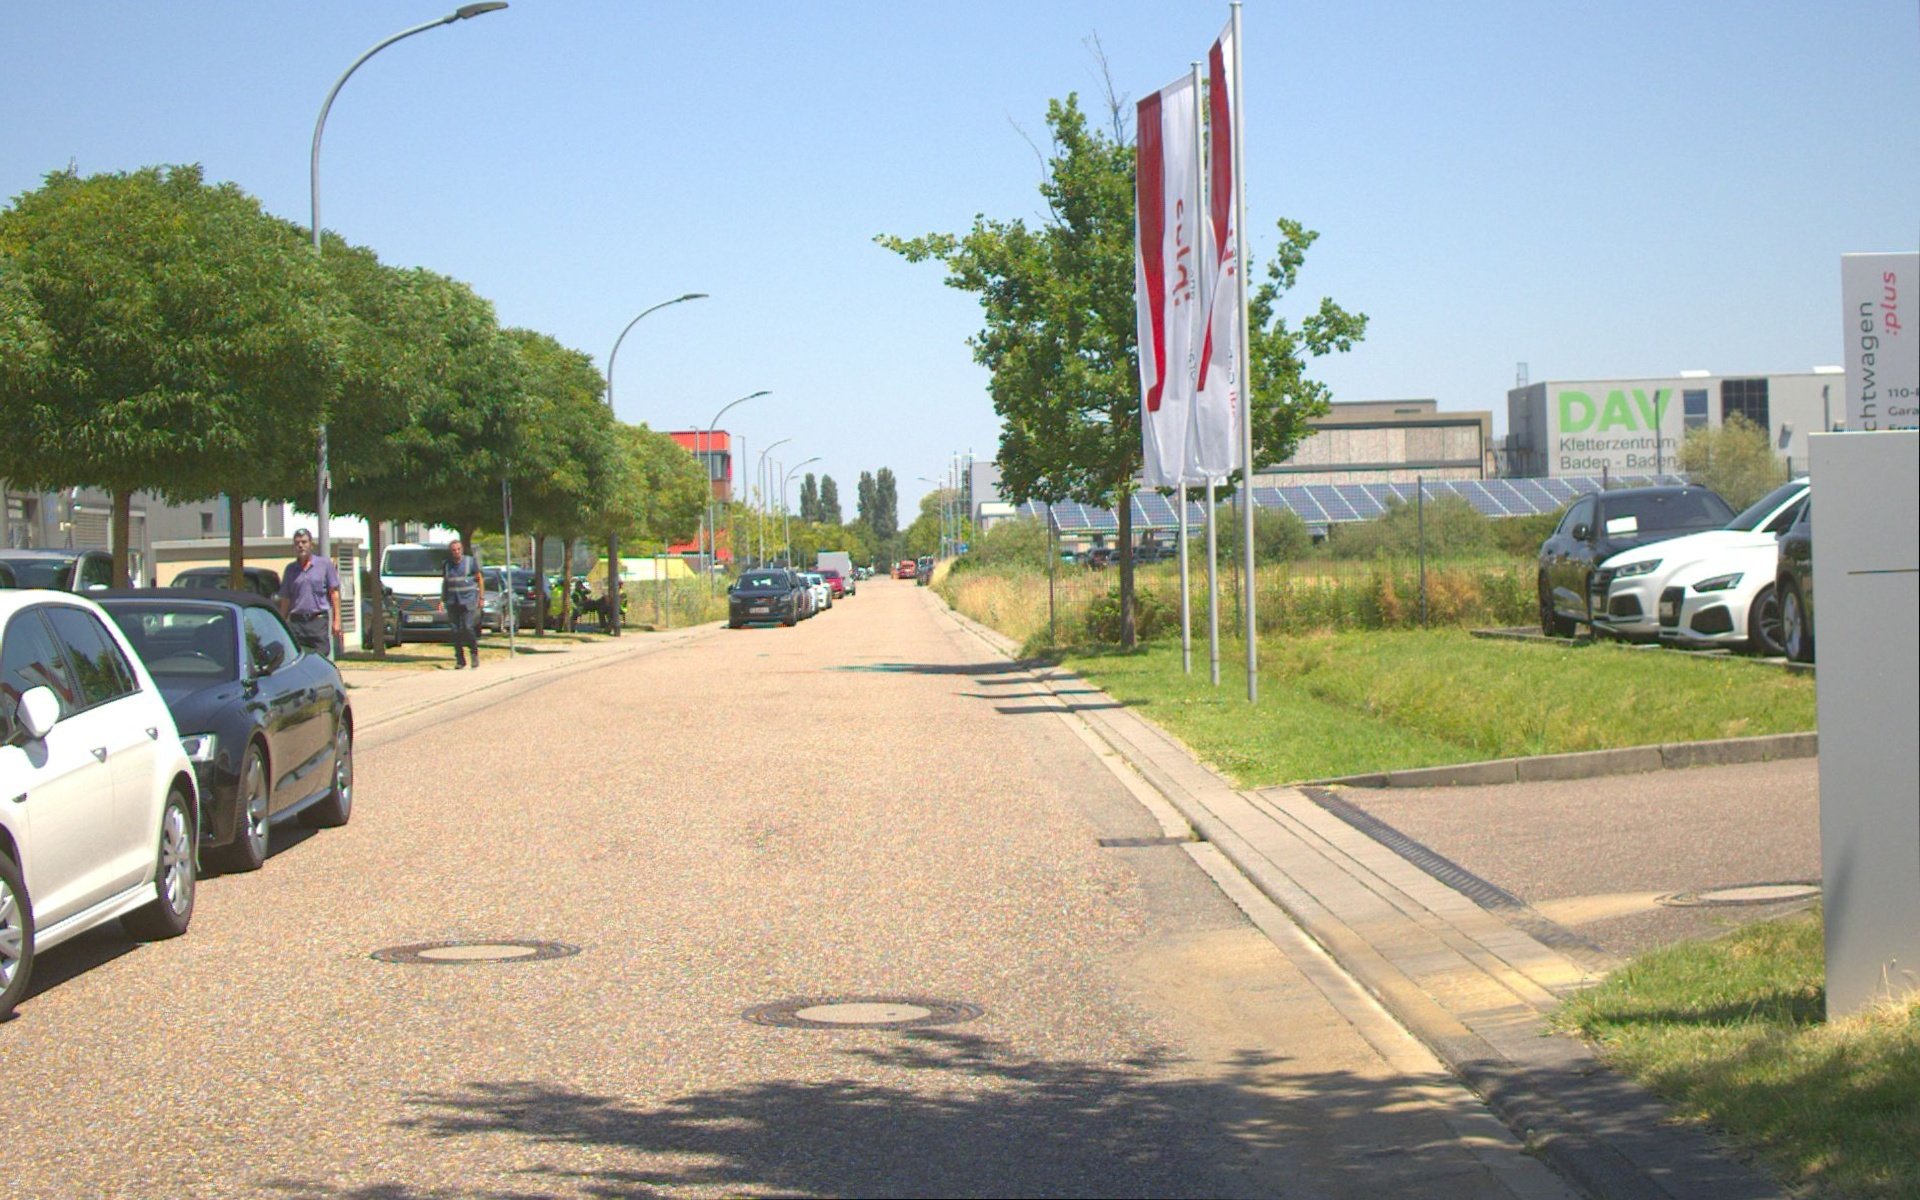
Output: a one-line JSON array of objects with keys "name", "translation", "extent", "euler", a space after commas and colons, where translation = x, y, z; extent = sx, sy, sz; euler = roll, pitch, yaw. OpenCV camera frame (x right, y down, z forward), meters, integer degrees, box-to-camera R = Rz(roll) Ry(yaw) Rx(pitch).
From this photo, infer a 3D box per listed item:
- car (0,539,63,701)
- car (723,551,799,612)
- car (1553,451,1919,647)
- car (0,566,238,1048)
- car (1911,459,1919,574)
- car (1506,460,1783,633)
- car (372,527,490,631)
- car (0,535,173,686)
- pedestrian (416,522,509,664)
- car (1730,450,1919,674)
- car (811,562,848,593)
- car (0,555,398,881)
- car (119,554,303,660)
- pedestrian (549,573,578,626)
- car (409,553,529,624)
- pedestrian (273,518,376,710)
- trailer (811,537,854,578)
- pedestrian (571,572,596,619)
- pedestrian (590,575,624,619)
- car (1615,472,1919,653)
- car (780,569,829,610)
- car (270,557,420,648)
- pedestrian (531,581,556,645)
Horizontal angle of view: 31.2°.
[{"name": "car", "translation": [-9.876, 0.182, 33.348], "extent": [1.682, 1.495, 3.705], "euler": [-1, 1, -6]}, {"name": "car", "translation": [-5.441, -0.518, 94.284], "extent": [1.926, 1.562, 4.190], "euler": [-2, 1, -2]}, {"name": "car", "translation": [8.339, -0.543, 33.760], "extent": [4.528, 1.687, 2.032], "euler": [-3, 1, -3]}, {"name": "car", "translation": [-3.960, 0.669, 12.340], "extent": [1.824, 1.495, 4.259], "euler": [-2, 1, -1]}, {"name": "car", "translation": [7.645, -0.262, 21.059], "extent": [2.025, 1.509, 5.239], "euler": [-5, 1, -1]}, {"name": "car", "translation": [7.557, -0.598, 38.469], "extent": [2.025, 1.687, 5.108], "euler": [-3, 1, 1]}, {"name": "car", "translation": [-10.671, -0.440, 69.661], "extent": [1.837, 2.012, 5.126], "euler": [1, 1, -3]}, {"name": "car", "translation": [-10.119, 0.081, 38.140], "extent": [1.765, 1.568, 4.540], "euler": [0, 1, 0]}, {"name": "pedestrian", "translation": [-6.976, -0.107, 48.218], "extent": [0.842, 1.966, 0.962], "euler": [0, 1, 39]}, {"name": "car", "translation": [7.582, -0.353, 26.647], "extent": [2.025, 1.568, 4.779], "euler": [-3, 1, -1]}, {"name": "car", "translation": [-6.717, -1.156, 177.402], "extent": [1.787, 1.515, 3.983], "euler": [-2, 0, -1]}, {"name": "car", "translation": [-4.305, 0.541, 18.550], "extent": [1.824, 1.495, 4.526], "euler": [-2, 1, -1]}, {"name": "car", "translation": [-10.603, 0.075, 48.915], "extent": [1.765, 1.448, 3.840], "euler": [0, 1, 0]}, {"name": "pedestrian", "translation": [-8.781, -0.009, 76.208], "extent": [0.479, 1.146, 0.555], "euler": [1, -2, 9]}, {"name": "car", "translation": [-10.800, -0.219, 75.869], "extent": [1.927, 1.436, 4.841], "euler": [-2, -1, 0]}, {"name": "pedestrian", "translation": [-6.045, 0.125, 32.750], "extent": [0.744, 1.795, 1.135], "euler": [0, 1, 1]}, {"name": "trailer", "translation": [-6.957, -2.319, 188.389], "extent": [2.201, 2.130, 4.286], "euler": [-2, 0, -1]}, {"name": "pedestrian", "translation": [-9.601, -0.126, 87.693], "extent": [0.506, 1.187, 0.753], "euler": [1, 0, 1]}, {"name": "pedestrian", "translation": [-8.890, -0.079, 86.587], "extent": [0.750, 1.095, 0.646], "euler": [1, 0, 3]}, {"name": "car", "translation": [8.444, -0.409, 31.108], "extent": [4.528, 1.452, 2.032], "euler": [-3, 1, -3]}, {"name": "car", "translation": [-6.192, -0.431, 137.057], "extent": [1.787, 1.515, 3.983], "euler": [-2, 1, -1]}, {"name": "car", "translation": [-10.541, 0.018, 59.237], "extent": [1.765, 1.448, 4.714], "euler": [-2, 1, -1]}, {"name": "pedestrian", "translation": [-10.430, 0.328, 86.076], "extent": [0.506, 1.590, 0.753], "euler": [1, 0, 1]}]
